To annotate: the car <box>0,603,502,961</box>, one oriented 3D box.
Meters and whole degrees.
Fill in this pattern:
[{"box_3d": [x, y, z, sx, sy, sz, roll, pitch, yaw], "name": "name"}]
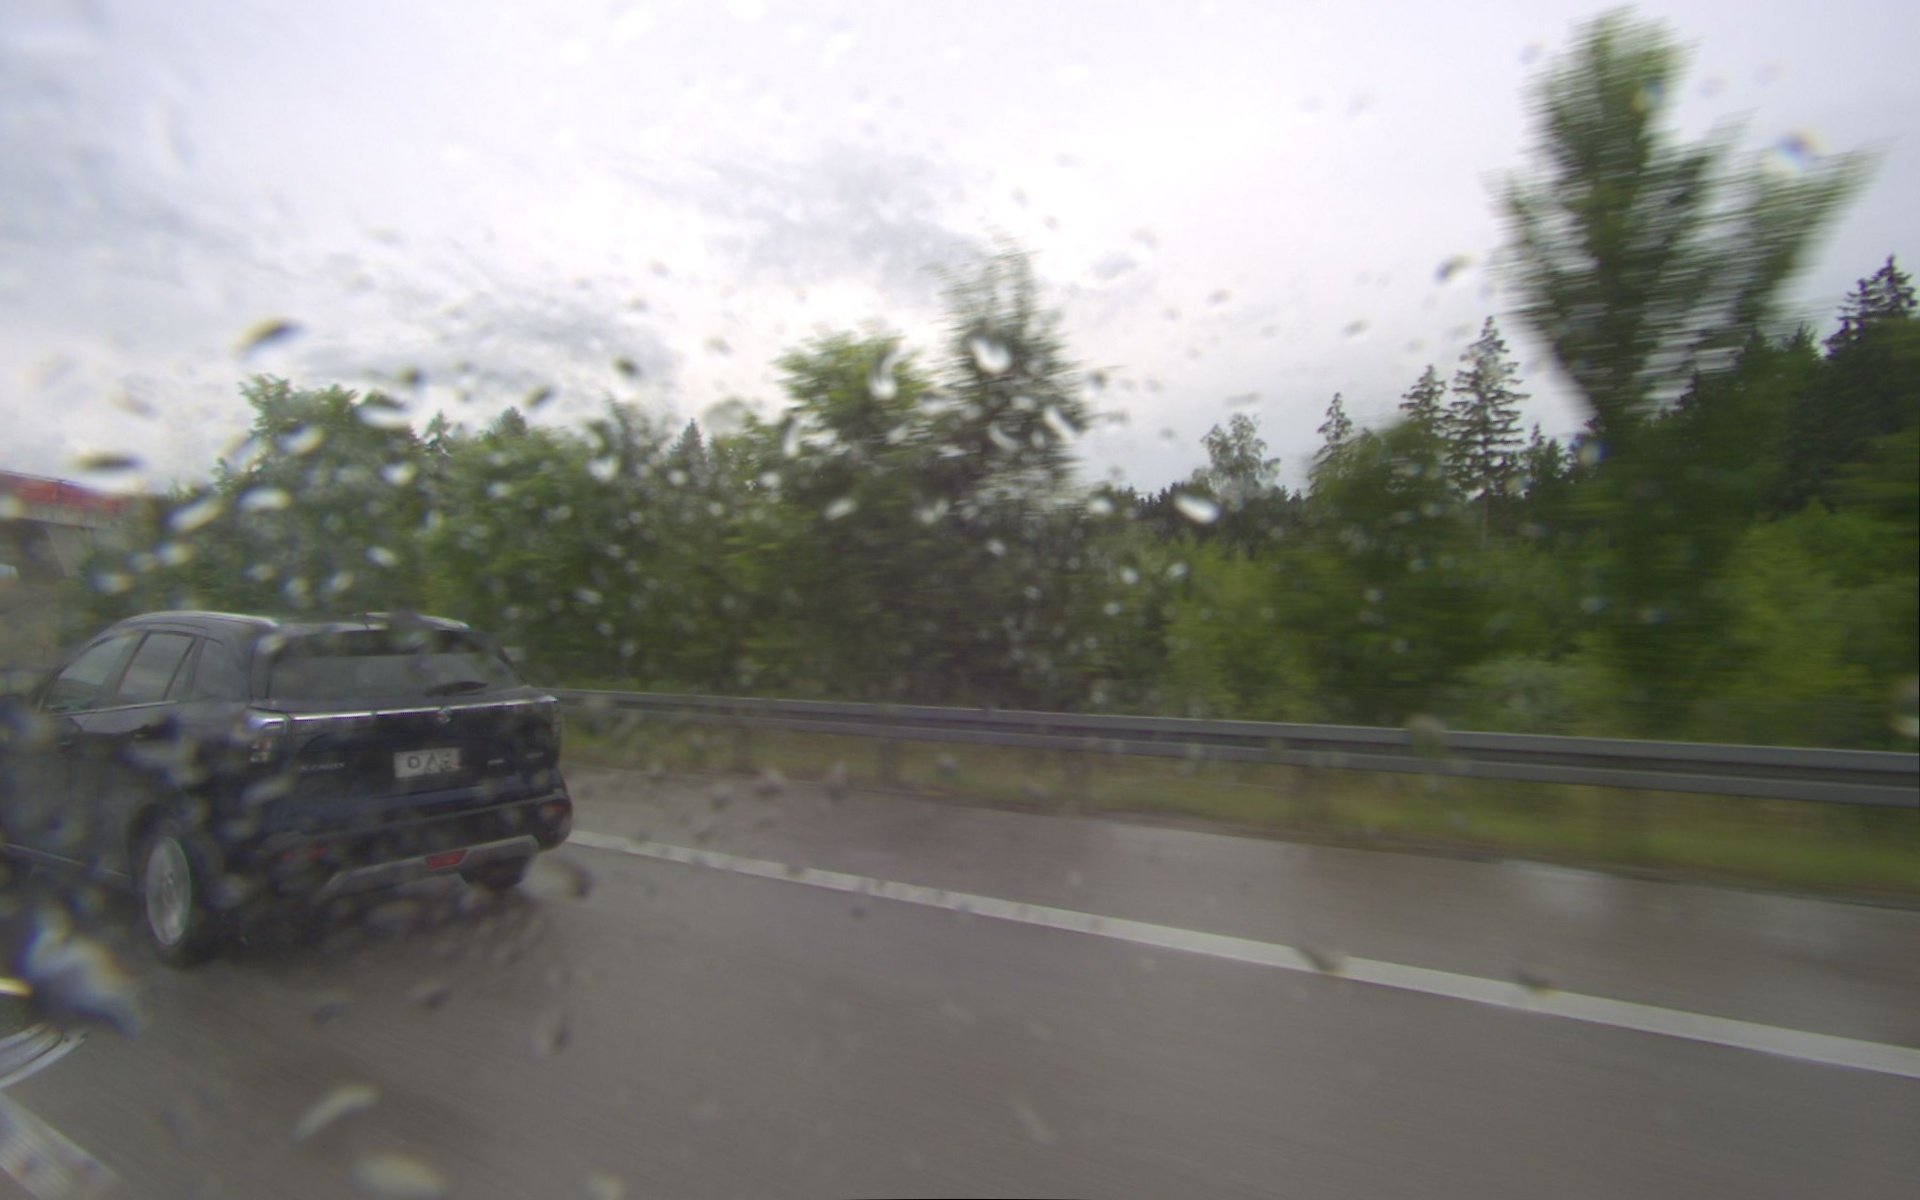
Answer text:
[{"box_3d": [-4.792, 0.857, 6.249, 3.580, 1.596, 1.891, -1, -2, 33], "name": "car"}]
